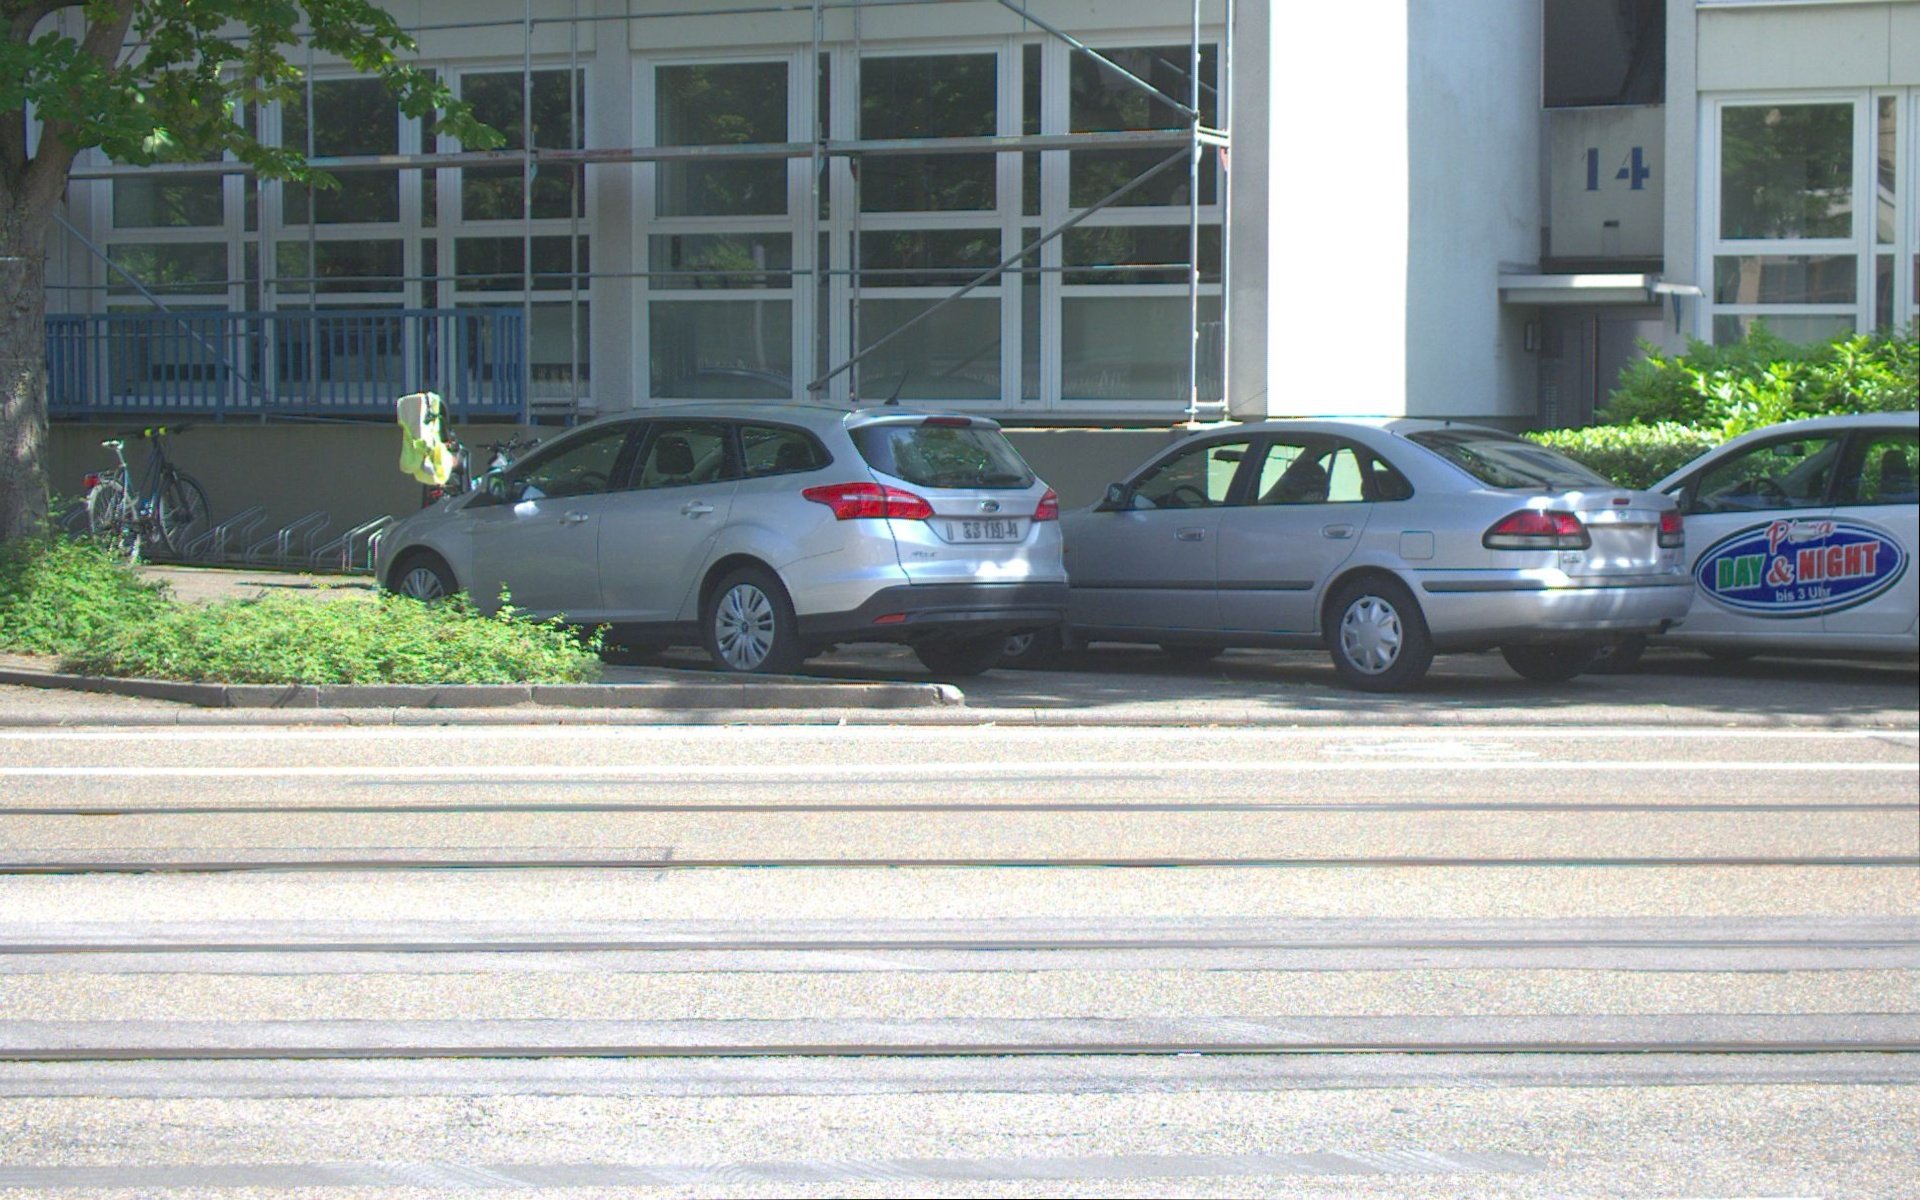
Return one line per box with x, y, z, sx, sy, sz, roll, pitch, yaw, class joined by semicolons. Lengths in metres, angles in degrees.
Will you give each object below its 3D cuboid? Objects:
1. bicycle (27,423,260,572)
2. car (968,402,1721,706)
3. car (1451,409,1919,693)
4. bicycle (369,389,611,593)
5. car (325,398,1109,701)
-6.224;-0.810;26.339;0.741;1.082;2.202;1;3;16;bicycle
2.018;-0.333;18.859;3.943;1.481;1.609;4;5;45;car
4.833;-0.313;19.191;3.942;1.481;1.609;2;4;44;car
-3.459;-0.834;25.506;0.662;1.448;2.087;2;4;29;bicycle
-1.445;-0.370;19.093;4.432;1.481;1.780;3;4;42;car
